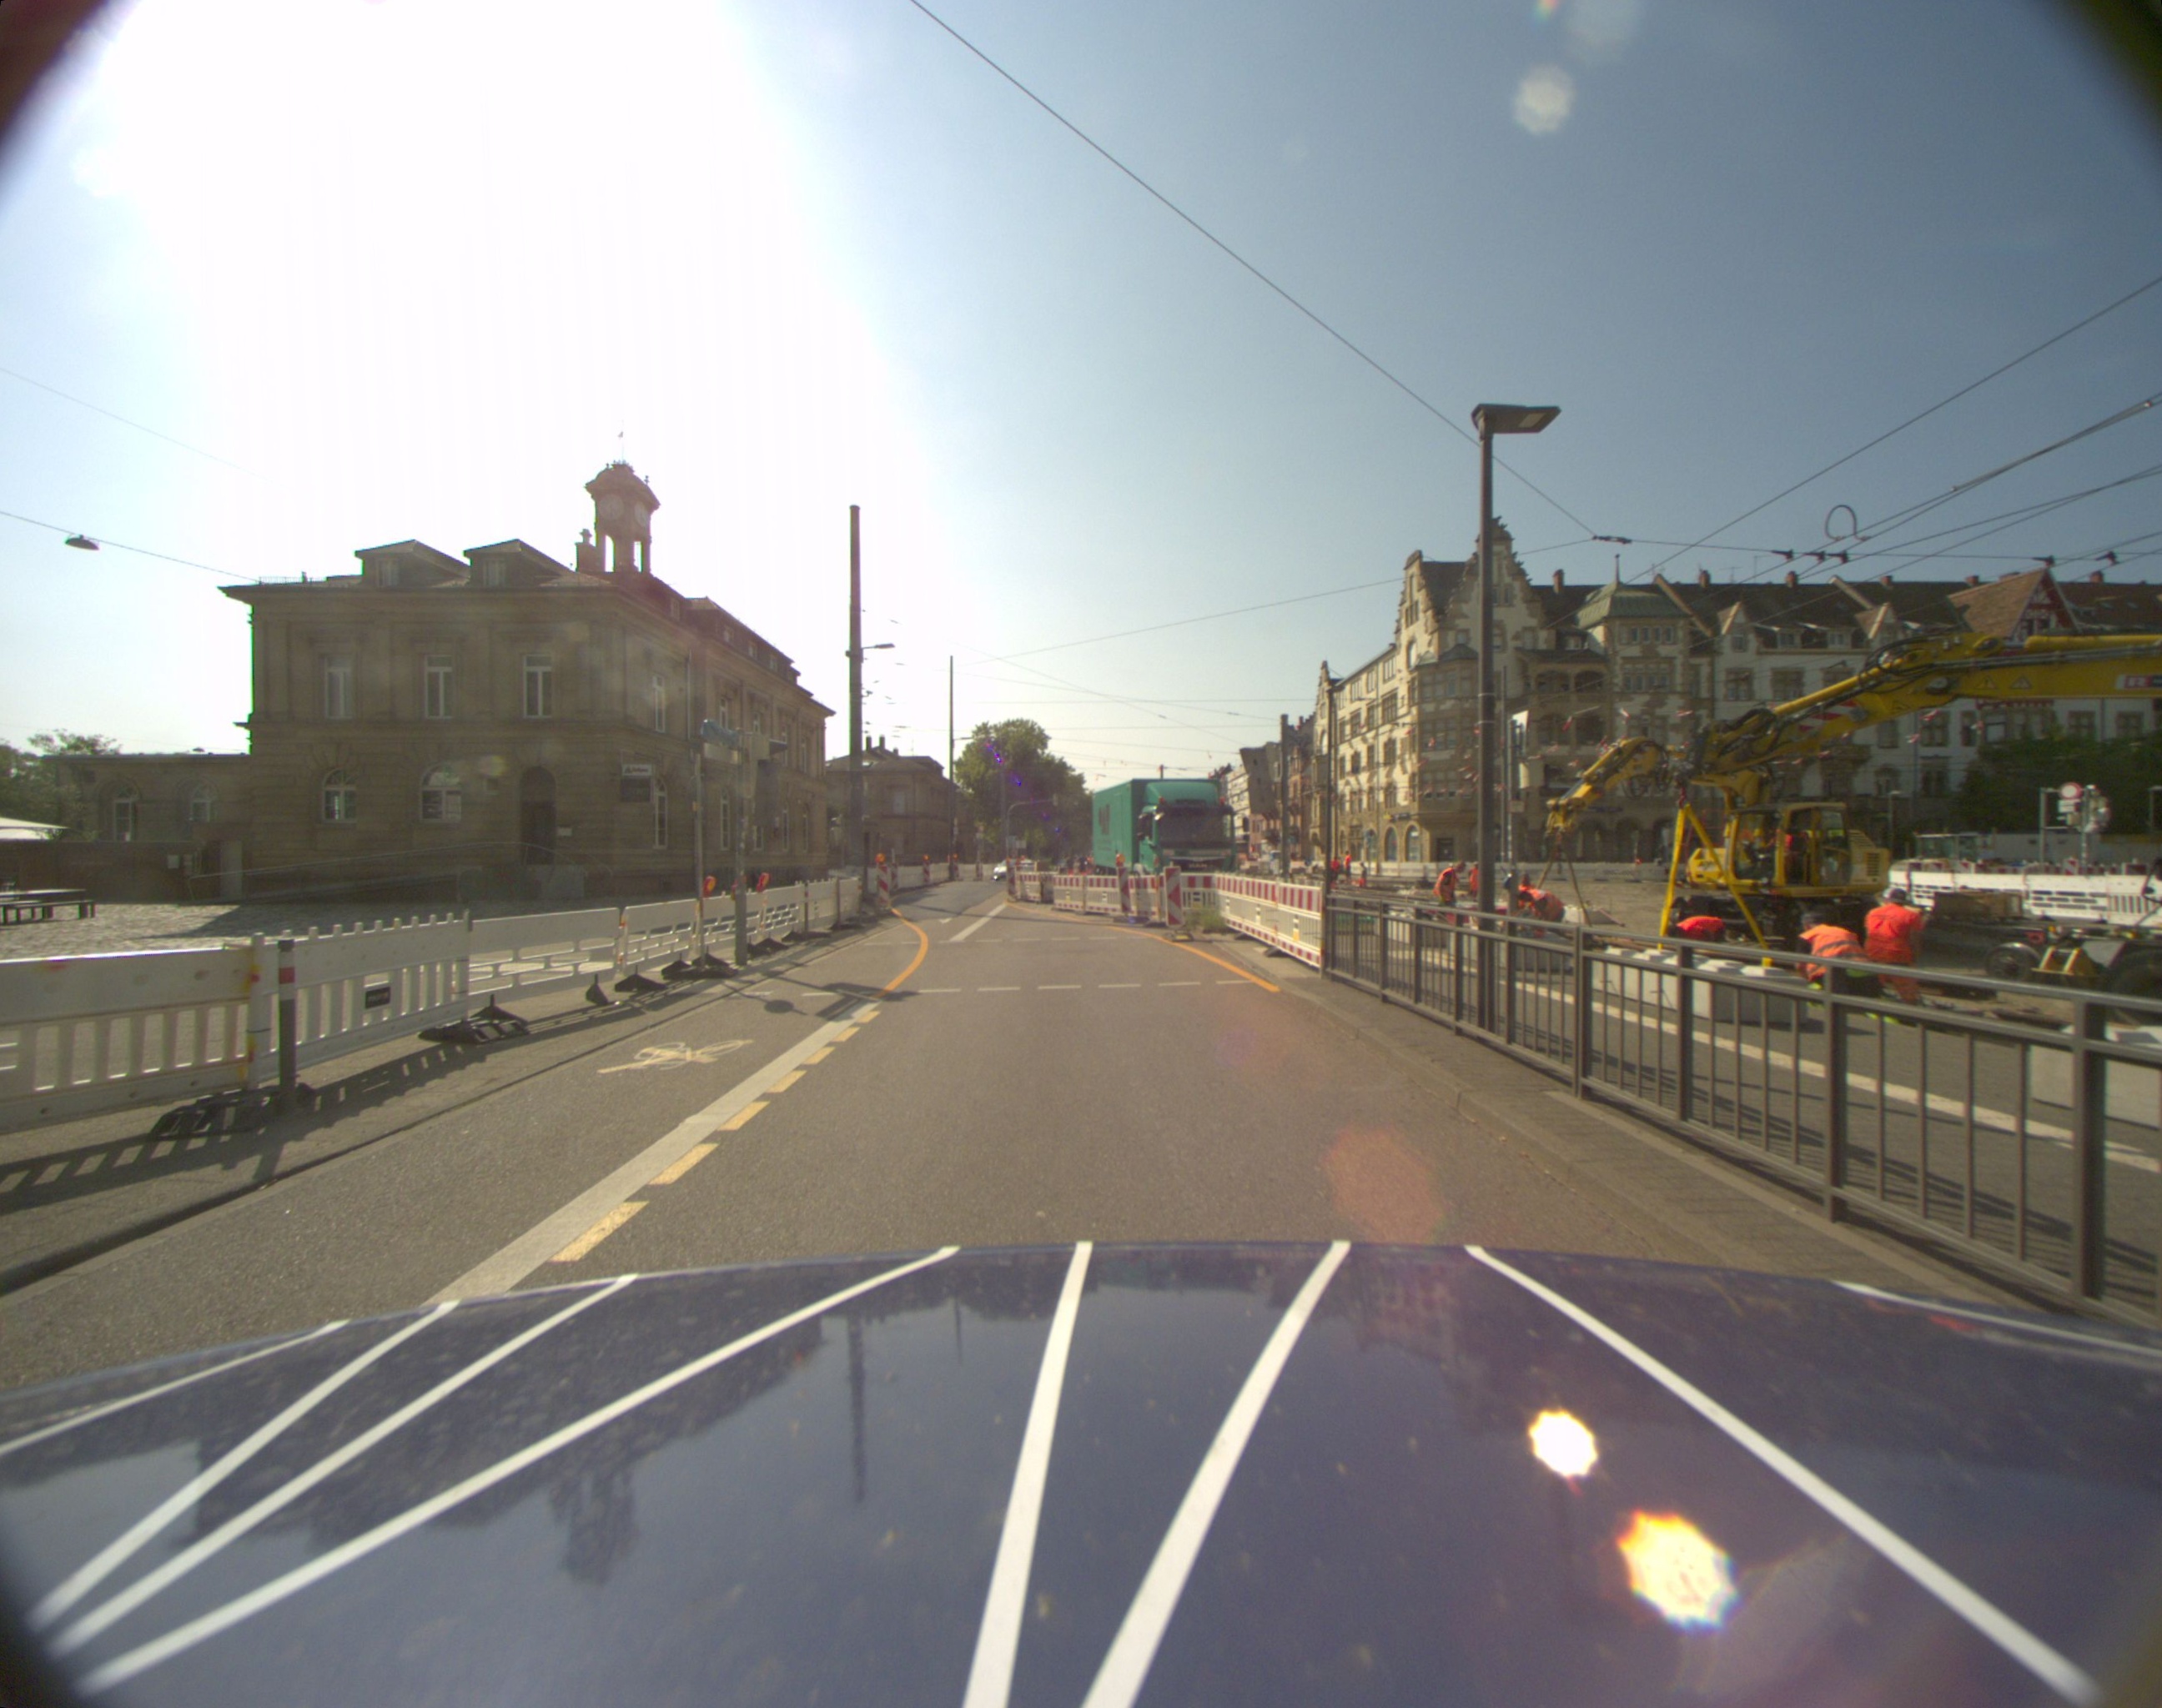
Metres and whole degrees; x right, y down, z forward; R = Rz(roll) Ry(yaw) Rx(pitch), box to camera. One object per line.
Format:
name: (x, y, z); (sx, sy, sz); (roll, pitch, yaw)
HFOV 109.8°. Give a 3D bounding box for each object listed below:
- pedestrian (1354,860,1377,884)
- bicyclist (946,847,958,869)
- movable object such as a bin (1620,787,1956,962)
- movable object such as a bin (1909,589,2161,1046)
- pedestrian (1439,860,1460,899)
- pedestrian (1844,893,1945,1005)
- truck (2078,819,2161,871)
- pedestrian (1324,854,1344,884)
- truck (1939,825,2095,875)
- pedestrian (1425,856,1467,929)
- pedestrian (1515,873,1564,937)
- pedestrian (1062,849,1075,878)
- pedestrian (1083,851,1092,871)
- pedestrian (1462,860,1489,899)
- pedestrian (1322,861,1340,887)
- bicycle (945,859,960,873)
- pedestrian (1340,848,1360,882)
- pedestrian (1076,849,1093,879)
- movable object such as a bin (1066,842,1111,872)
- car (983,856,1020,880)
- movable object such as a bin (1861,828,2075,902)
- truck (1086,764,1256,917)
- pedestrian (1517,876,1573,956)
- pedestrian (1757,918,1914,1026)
pedestrian: (14.763, 0.908, 39.474); (0.732, 1.177, 0.866); (3, 2, -7)
bicyclist: (-9.778, 0.317, 57.774); (0.736, 1.616, 0.853); (0, 1, 1)
movable object such as a bin: (14.721, 0.387, 16.111); (4.128, 3.204, 3.563); (0, 0, -15)
movable object such as a bin: (12.222, -0.357, 7.758); (2.994, 4.527, 4.212); (0, 0, 3)
pedestrian: (16.185, 1.098, 33.347); (0.739, 1.692, 0.760); (0, 1, 20)
pedestrian: (9.120, 1.032, 8.543); (0.701, 1.148, 0.589); (0, 0, 40)
truck: (64.006, -0.510, 45.155); (6.353, 3.026, 2.631); (0, 0, -3)
pedestrian: (13.264, 0.769, 39.872); (0.755, 1.547, 0.735); (0, 1, -42)
truck: (54.899, -0.225, 44.655); (6.037, 2.798, 2.691); (0, 0, -2)
pedestrian: (7.553, 0.769, 15.753); (0.741, 1.470, 0.704); (0, 0, 23)
pedestrian: (8.809, 0.960, 14.632); (0.701, 1.171, 0.703); (0, 0, 21)
pedestrian: (-0.761, 0.566, 45.789); (0.720, 1.764, 0.465); (0, 1, -4)
pedestrian: (0.549, 0.645, 66.954); (0.701, 1.729, 0.913); (0, 1, 7)
pedestrian: (17.167, 1.108, 33.082); (0.741, 1.692, 0.758); (0, 1, -1)
pedestrian: (12.175, 0.968, 37.001); (0.678, 1.239, 0.547); (0, 1, -1)
bicycle: (-9.783, 0.873, 57.767); (0.743, 1.026, 2.132); (0, 0, 1)
pedestrian: (13.755, 0.561, 38.894); (0.752, 1.692, 0.678); (0, 1, 0)
pedestrian: (0.222, 0.591, 45.307); (0.921, 1.830, 0.801); (0, 1, -5)
movable object such as a bin: (0.633, 0.237, 67.167); (3.174, 2.395, 2.914); (2, 2, -15)
car: (-5.064, 0.880, 48.927); (1.844, 1.451, 4.000); (2, 0, 1)
movable object such as a bin: (35.369, 0.390, 30.450); (5.515, 2.774, 2.490); (-1, 2, 1)
truck: (2.280, -0.298, 23.287); (2.817, 3.766, 9.008); (1, 0, -9)
pedestrian: (8.156, 1.068, 13.391); (0.701, 1.327, 0.838); (0, 0, 21)
pedestrian: (7.508, 1.148, 7.607); (0.702, 0.949, 0.882); (0, 0, 1)
